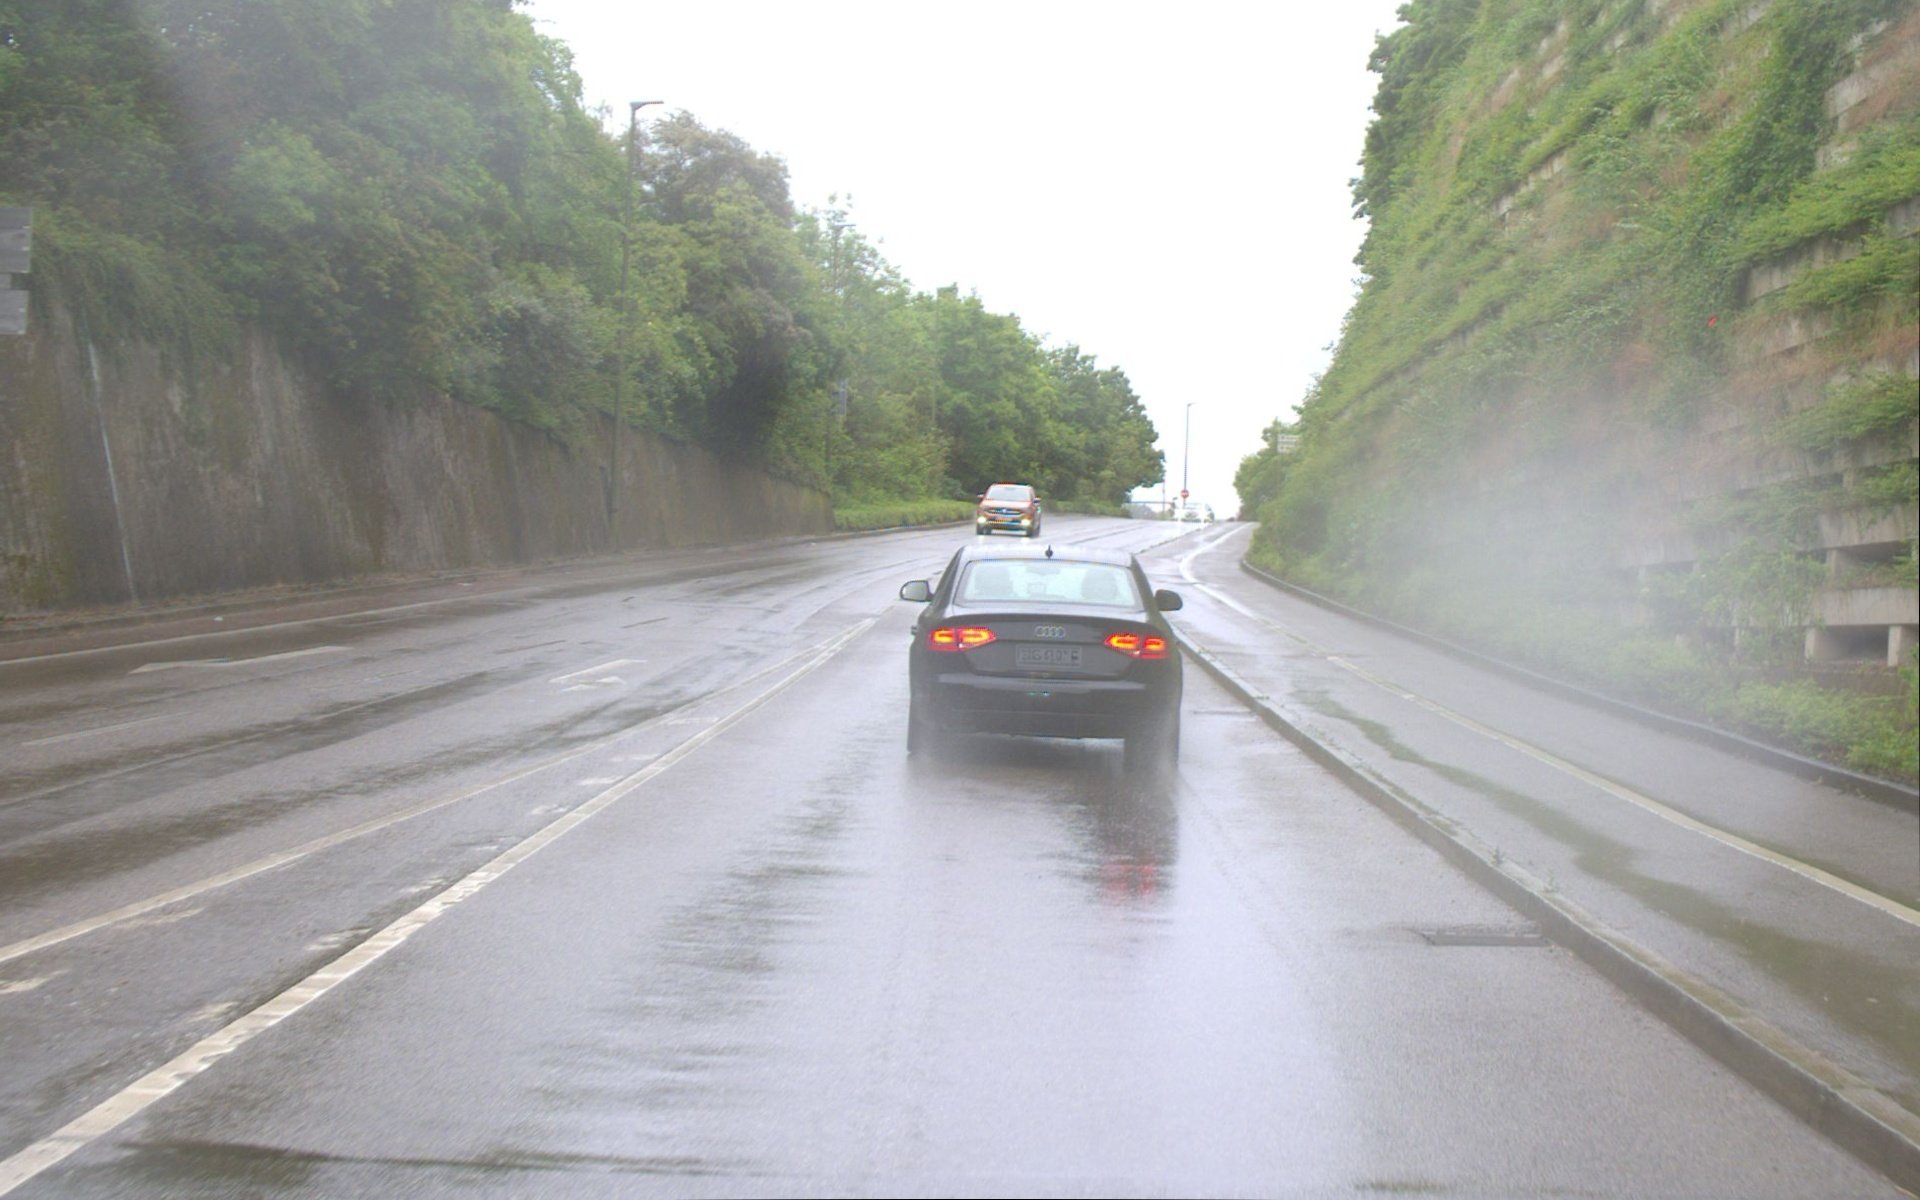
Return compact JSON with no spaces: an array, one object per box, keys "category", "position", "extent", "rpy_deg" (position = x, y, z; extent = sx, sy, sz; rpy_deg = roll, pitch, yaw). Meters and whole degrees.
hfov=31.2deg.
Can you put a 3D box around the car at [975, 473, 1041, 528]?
[{"category":"car","position":[1.509,-3.055,106.226],"extent":[1.733,1.612,4.000],"rpy_deg":[2,1,4]}]

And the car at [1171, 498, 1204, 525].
[{"category":"car","position":[13.379,-5.212,201.696],"extent":[1.865,1.443,4.377],"rpy_deg":[2,3,4]}]

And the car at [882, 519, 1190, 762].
[{"category":"car","position":[0.575,0.223,23.417],"extent":[1.893,1.487,4.207],"rpy_deg":[-1,1,3]}]
